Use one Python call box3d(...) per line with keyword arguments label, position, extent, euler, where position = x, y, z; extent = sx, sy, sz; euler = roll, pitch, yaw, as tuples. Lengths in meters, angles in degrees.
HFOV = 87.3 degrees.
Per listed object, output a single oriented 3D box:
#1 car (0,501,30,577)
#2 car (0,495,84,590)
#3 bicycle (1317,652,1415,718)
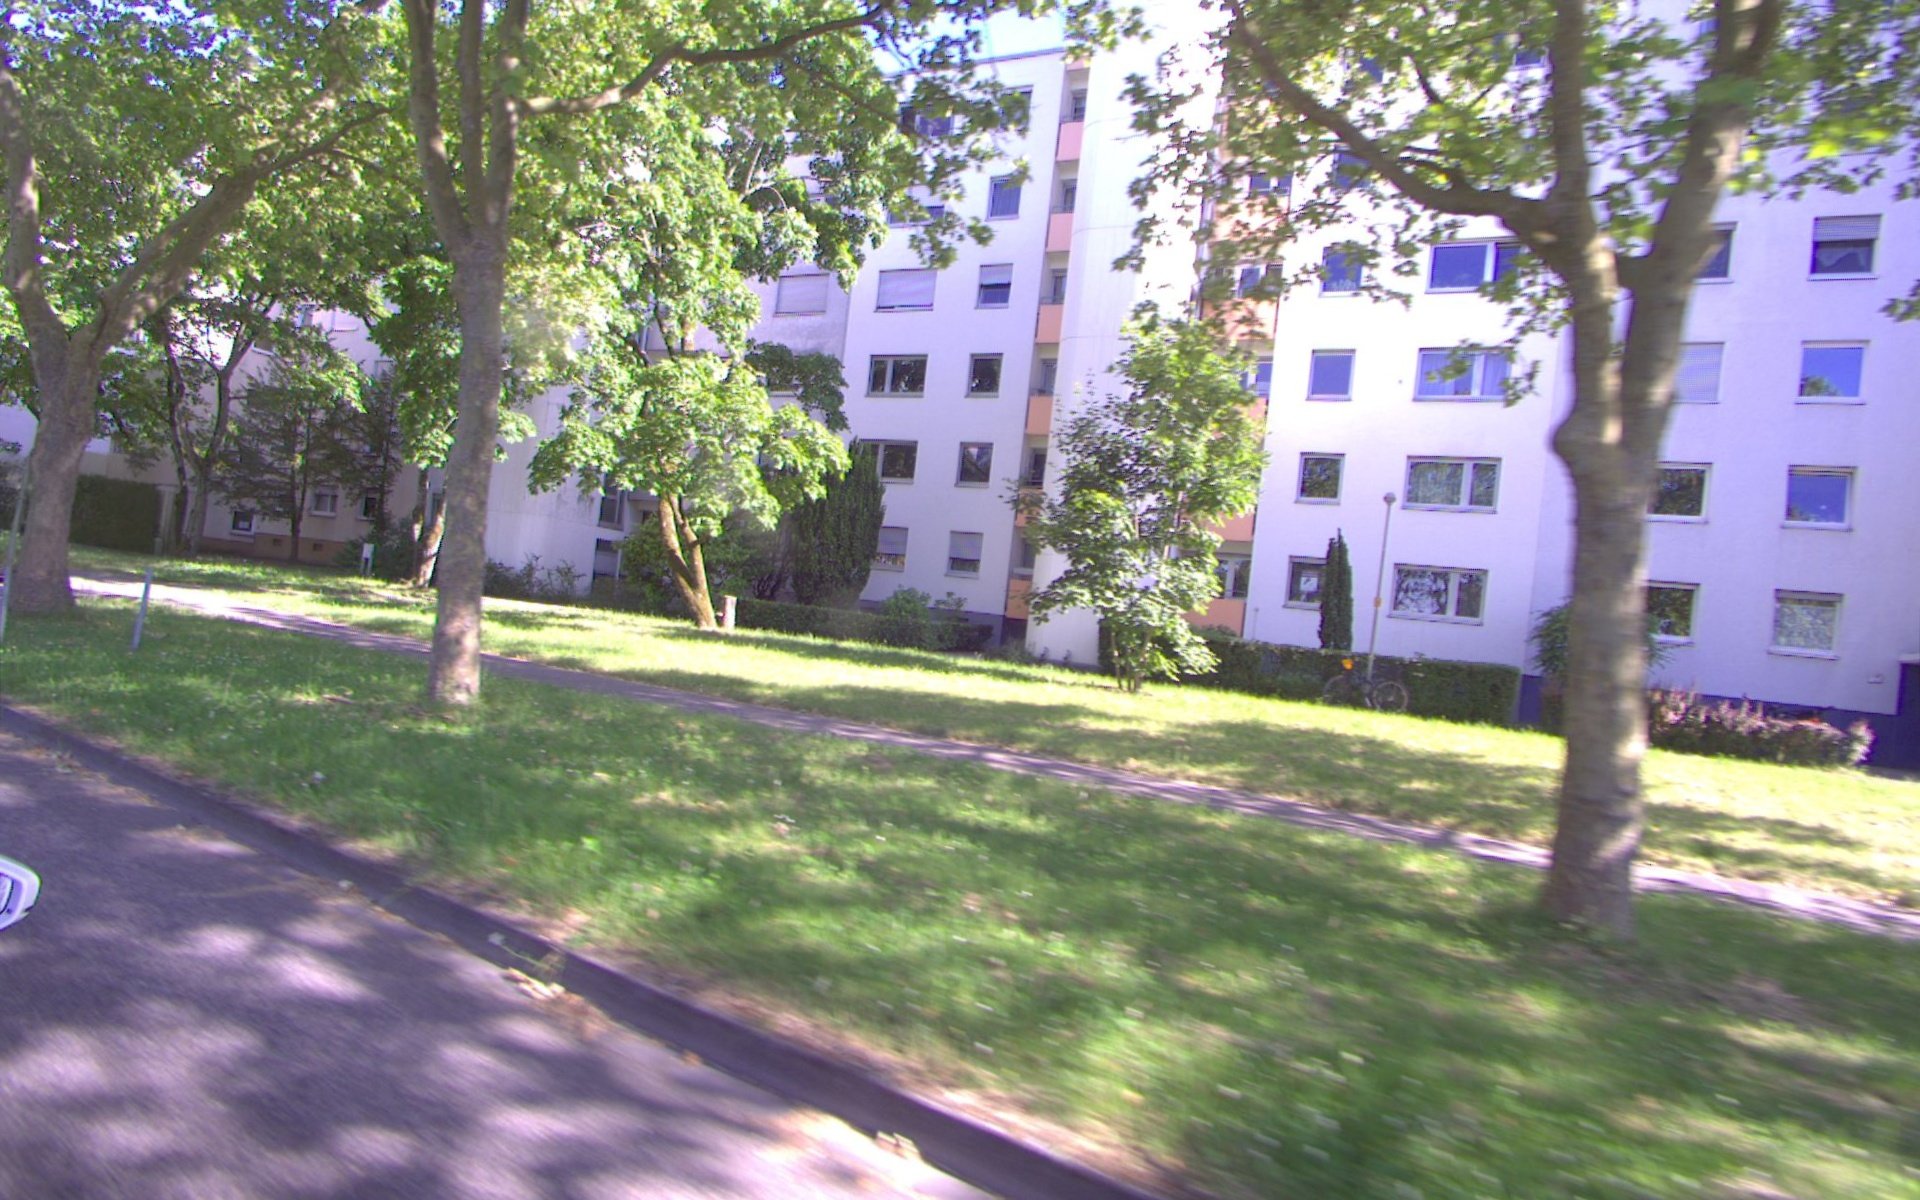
box3d(label="car", position=(-19.955, -1.304, 18.996), extent=(1.770, 1.510, 3.577), euler=(6, 0, -10))
box3d(label="car", position=(-17.222, -1.071, 17.055), extent=(1.769, 1.612, 3.720), euler=(6, 0, -9))
box3d(label="bicycle", position=(8.500, 1.762, 21.094), extent=(1.768, 1.123, 0.499), euler=(6, 4, 25))
